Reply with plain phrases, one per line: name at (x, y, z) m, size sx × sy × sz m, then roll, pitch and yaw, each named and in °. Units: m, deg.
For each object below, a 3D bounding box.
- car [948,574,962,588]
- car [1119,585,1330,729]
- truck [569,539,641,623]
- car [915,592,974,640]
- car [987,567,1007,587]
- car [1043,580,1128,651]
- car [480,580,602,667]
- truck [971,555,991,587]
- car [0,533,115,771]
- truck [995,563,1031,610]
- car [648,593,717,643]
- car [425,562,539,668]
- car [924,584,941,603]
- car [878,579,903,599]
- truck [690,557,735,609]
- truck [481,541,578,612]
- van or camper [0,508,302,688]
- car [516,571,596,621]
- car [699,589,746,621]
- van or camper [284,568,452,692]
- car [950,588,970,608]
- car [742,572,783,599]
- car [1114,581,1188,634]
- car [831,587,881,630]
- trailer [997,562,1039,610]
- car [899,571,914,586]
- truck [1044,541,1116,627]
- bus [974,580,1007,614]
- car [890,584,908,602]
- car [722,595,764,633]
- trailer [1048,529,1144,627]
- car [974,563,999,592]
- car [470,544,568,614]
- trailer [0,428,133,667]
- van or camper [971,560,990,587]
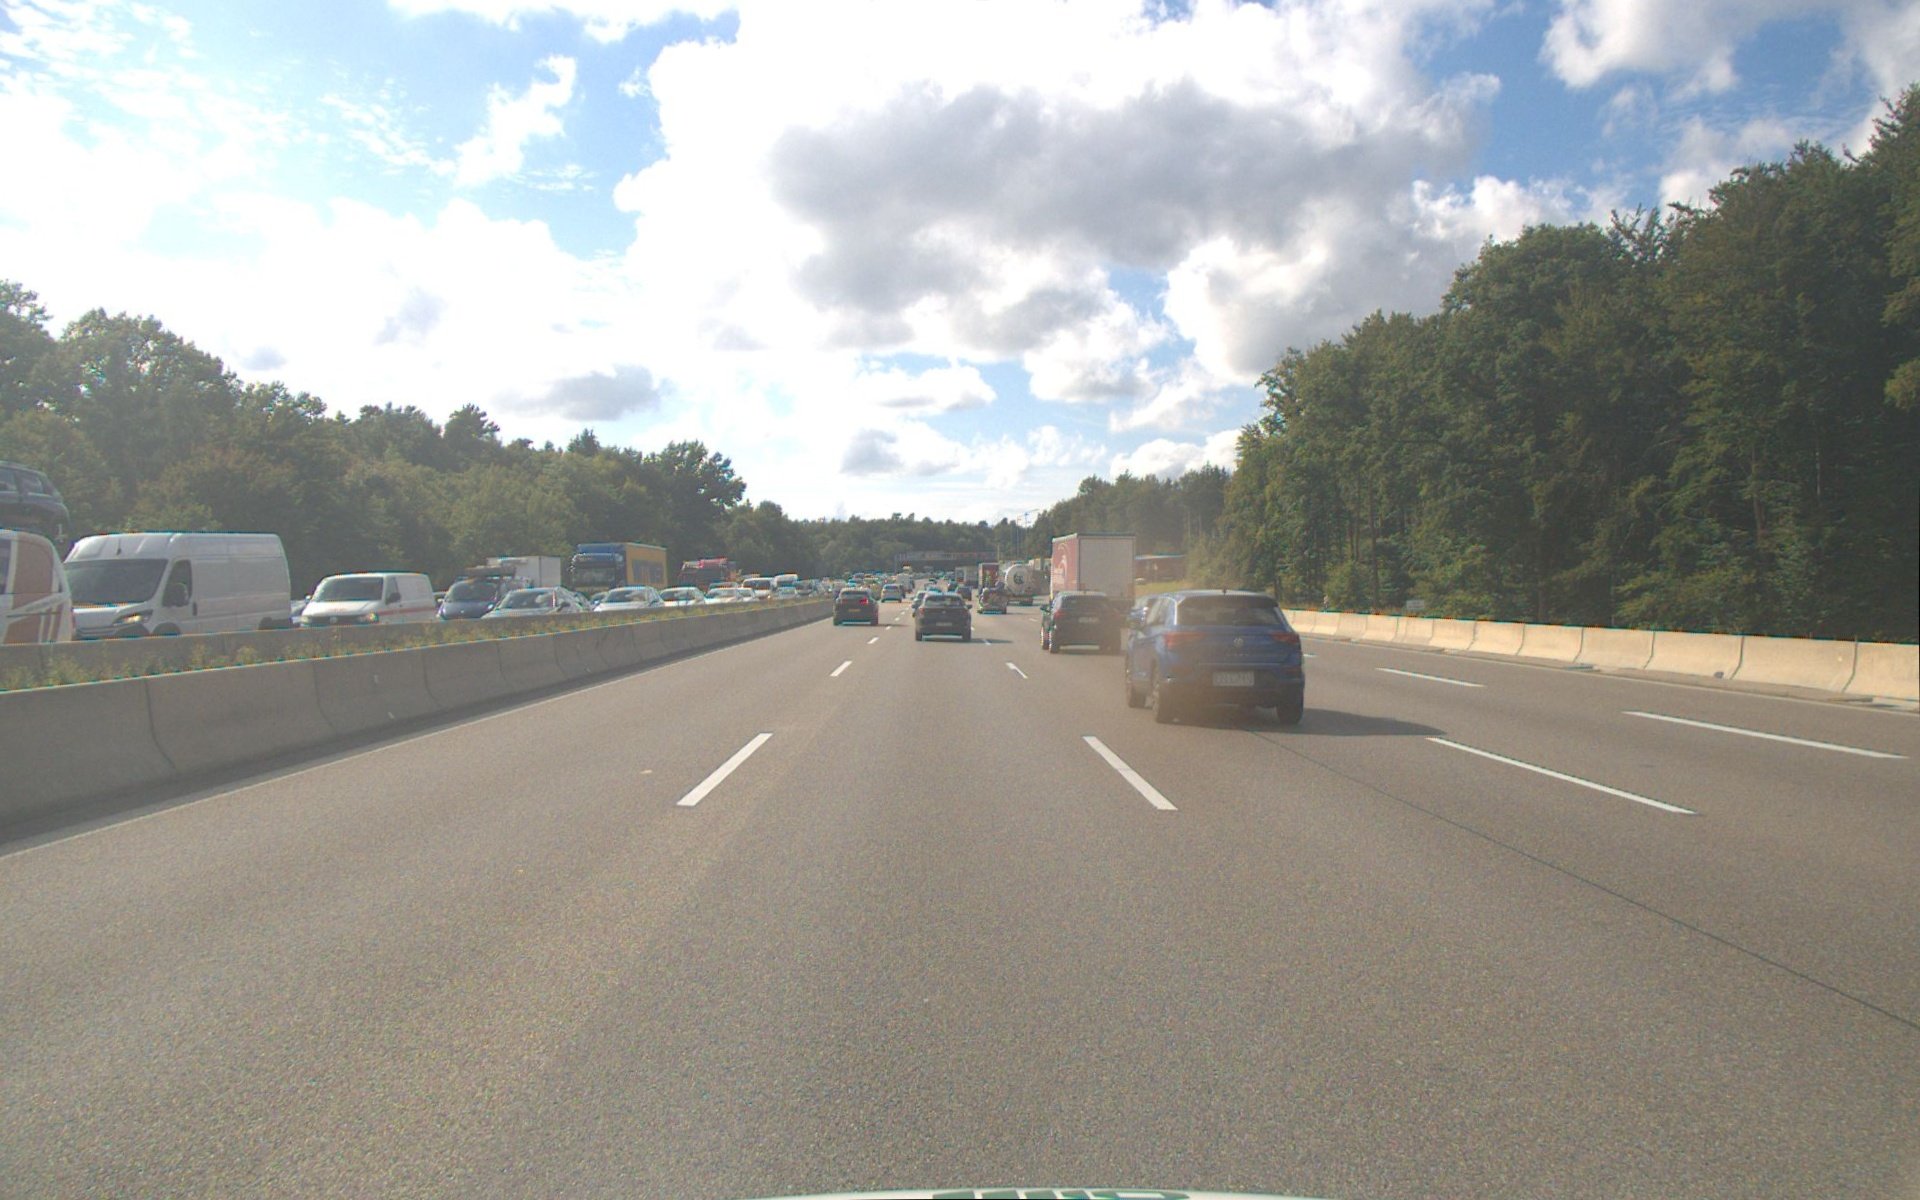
car at (-0.798, -2.859, 250.526) m, size 1.953 × 2.049 × 3.999 m, roll 1°, pitch 0°, yaw -1°
car at (3.199, 0.623, 20.924) m, size 1.885 × 1.568 × 4.645 m, roll -1°, pitch 1°, yaw 0°
truck at (-18.523, -0.934, 86.512) m, size 2.681 × 4.221 × 5.614 m, roll 1°, pitch -1°, yaw -2°
car at (-0.517, 0.475, 51.495) m, size 1.699 × 1.389 × 3.998 m, roll 1°, pitch 0°, yaw -3°
car at (4.003, -2.445, 180.089) m, size 1.953 × 2.049 × 3.999 m, roll 1°, pitch -1°, yaw -1°
car at (3.110, 0.368, 41.706) m, size 1.763 × 1.673 × 3.999 m, roll 1°, pitch 0°, yaw -1°
car at (-10.379, 0.585, 41.299) m, size 1.953 × 2.049 × 4.408 m, roll 0°, pitch -1°, yaw -1°
truck at (2.615, -3.555, 206.964) m, size 2.310 × 3.635 × 11.265 m, roll 1°, pitch -1°, yaw 0°
car at (-9.594, 0.447, 14.218) m, size 1.953 × 2.137 × 5.277 m, roll 1°, pitch -1°, yaw -1°
truck at (4.827, -1.202, 152.750) m, size 2.984 × 4.233 × 7.125 m, roll 0°, pitch 0°, yaw -1°
car at (-10.597, 0.660, 63.392) m, size 1.953 × 1.773 × 4.294 m, roll 2°, pitch 0°, yaw -1°
car at (-14.512, 0.407, 50.501) m, size 1.953 × 3.015 × 5.401 m, roll 2°, pitch 0°, yaw -1°
car at (-3.124, -0.730, 187.154) m, size 1.953 × 2.049 × 3.999 m, roll -1°, pitch -1°, yaw -1°
car at (-6.467, -0.989, 154.207) m, size 2.111 × 1.807 × 3.999 m, roll 1°, pitch 0°, yaw -1°
truck at (-19.661, -1.366, 131.832) m, size 2.720 × 4.007 × 6.850 m, roll 1°, pitch 1°, yaw -2°
truck at (-18.676, -1.008, 72.236) m, size 2.281 × 2.850 × 7.947 m, roll 2°, pitch 0°, yaw -1°
van or camper at (-13.937, 0.054, 28.775) m, size 2.342 × 2.759 × 6.629 m, roll 1°, pitch -2°, yaw -1°
car at (-14.621, -0.138, 60.082) m, size 1.763 × 1.660 × 4.661 m, roll 3°, pitch 0°, yaw -1°
car at (-10.999, 0.222, 76.727) m, size 1.721 × 1.401 × 3.998 m, roll 1°, pitch 0°, yaw -2°
van or camper at (-14.213, 0.721, 40.113) m, size 2.003 × 2.758 × 5.749 m, roll 1°, pitch -1°, yaw -1°
car at (0.037, -0.234, 171.392) m, size 1.953 × 2.049 × 3.999 m, roll 1°, pitch 0°, yaw -1°
car at (-11.019, -0.793, 92.626) m, size 1.812 × 1.378 × 5.486 m, roll 1°, pitch -1°, yaw -2°
car at (5.803, 0.219, 50.692) m, size 1.680 × 1.537 × 4.301 m, roll -1°, pitch 0°, yaw -1°
car at (-4.521, 0.363, 72.177) m, size 1.953 × 1.807 × 3.999 m, roll 1°, pitch 0°, yaw -1°
trailer at (4.997, -1.143, 145.489) m, size 2.975 × 4.086 × 12.241 m, roll 0°, pitch 0°, yaw -2°
car at (-7.294, -2.890, 225.202) m, size 1.953 × 2.049 × 3.999 m, roll 1°, pitch 0°, yaw -1°
truck at (6.012, -0.741, 83.552) m, size 3.018 × 4.135 × 6.067 m, roll 1°, pitch -1°, yaw -1°
bus at (1.879, -0.150, 104.201) m, size 1.953 × 2.049 × 3.999 m, roll 1°, pitch -1°, yaw -1°
car at (-6.900, -0.791, 186.972) m, size 1.953 × 2.049 × 3.999 m, roll 1°, pitch 0°, yaw -1°
car at (-11.004, 0.707, 84.086) m, size 1.653 × 1.848 × 4.294 m, roll 1°, pitch -1°, yaw -2°
trailer at (6.132, -0.832, 76.971) m, size 2.977 × 4.106 × 13.885 m, roll 1°, pitch -1°, yaw -1°
car at (3.016, -2.564, 190.052) m, size 2.808 × 3.044 × 5.149 m, roll 1°, pitch -1°, yaw 0°
car at (-13.840, -0.604, 52.176) m, size 1.953 × 2.049 × 4.655 m, roll 1°, pitch -1°, yaw -2°
trailer at (-17.598, -0.912, 24.643) m, size 2.773 × 4.044 × 16.001 m, roll 1°, pitch 0°, yaw -1°
van or camper at (2.615, -3.397, 213.980) m, size 2.303 × 3.199 × 5.710 m, roll 1°, pitch -1°, yaw 0°
